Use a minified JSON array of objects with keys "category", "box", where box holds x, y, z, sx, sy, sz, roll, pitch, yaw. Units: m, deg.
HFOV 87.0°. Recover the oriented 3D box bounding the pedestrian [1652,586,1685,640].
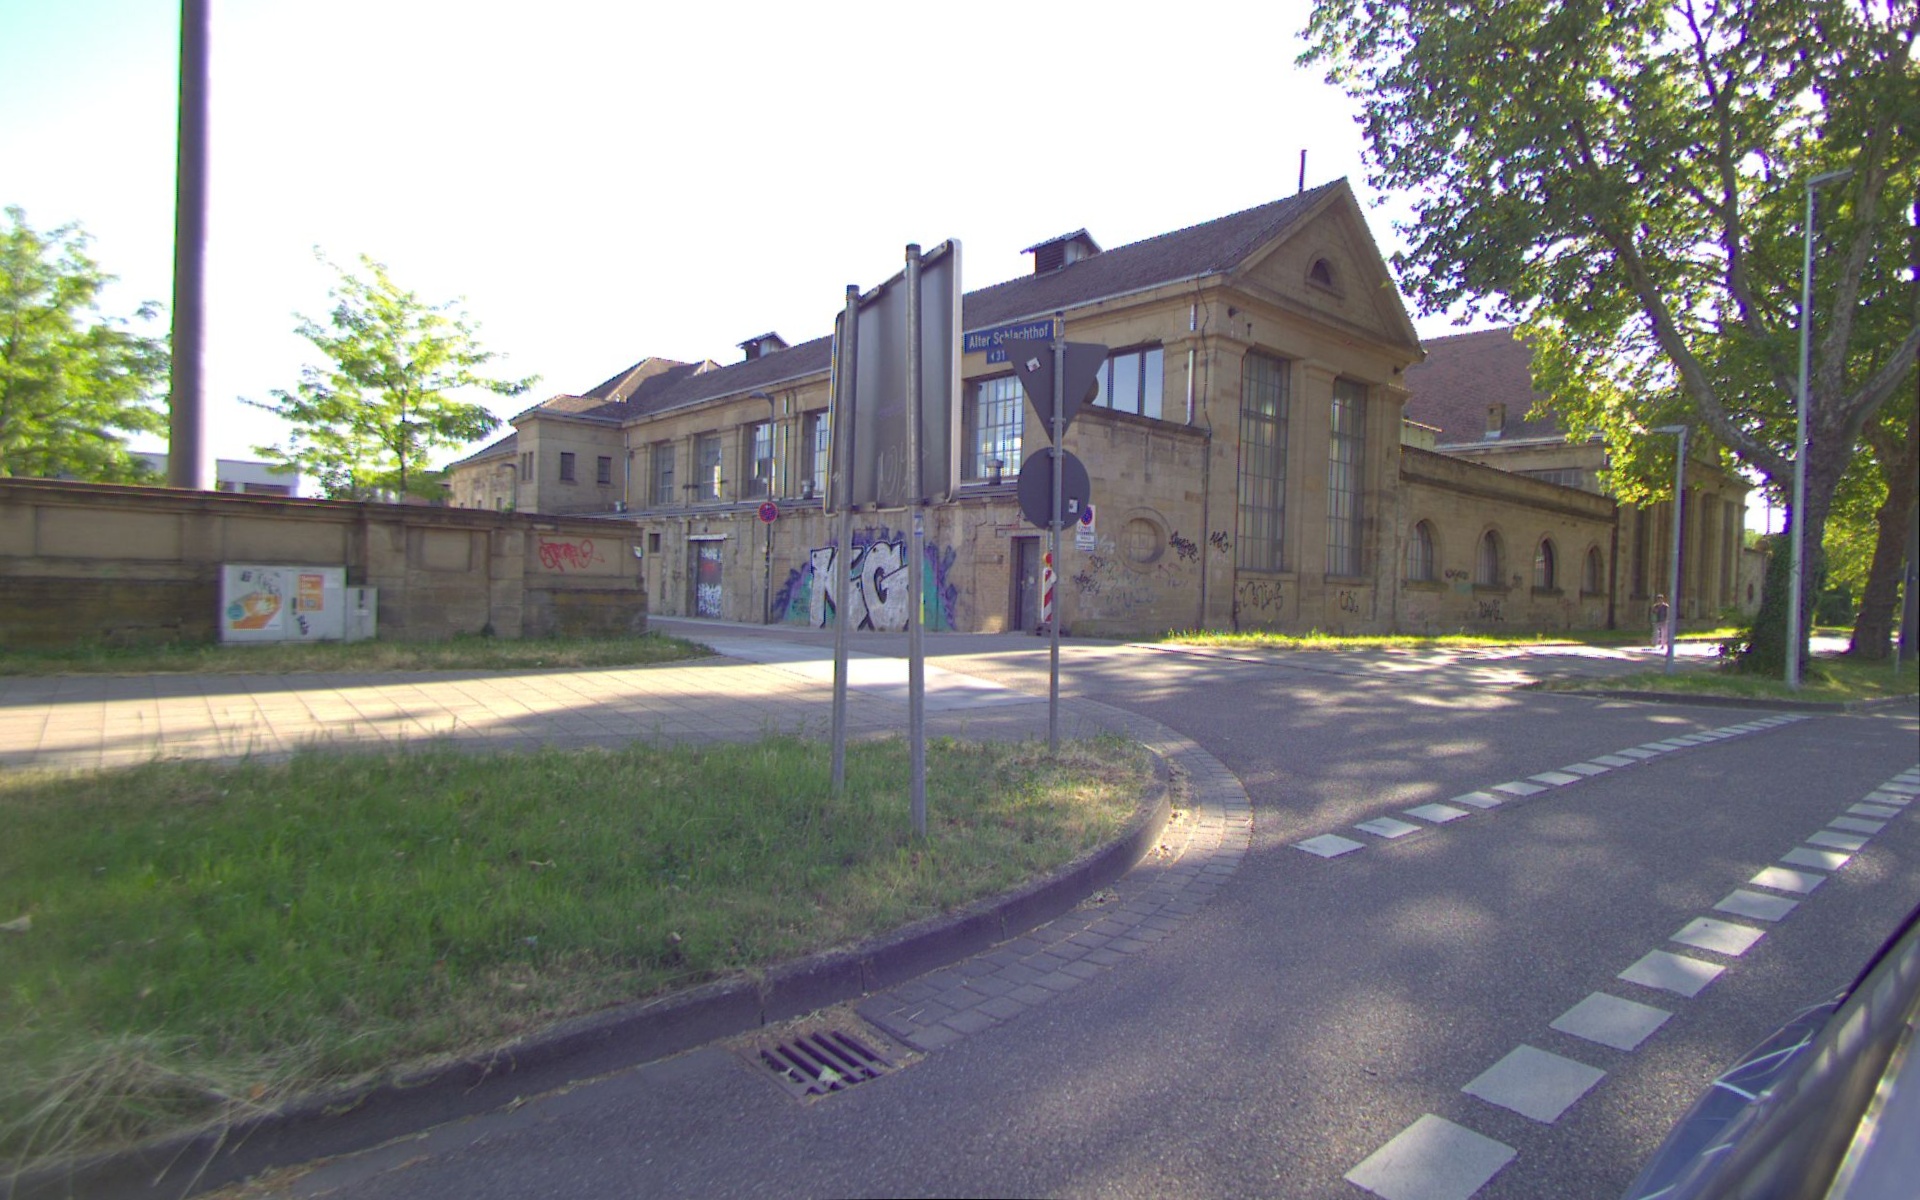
[{"category":"pedestrian","box":[22.786,0.419,32.554,0.671,1.682,0.860,4,2,45]}]
